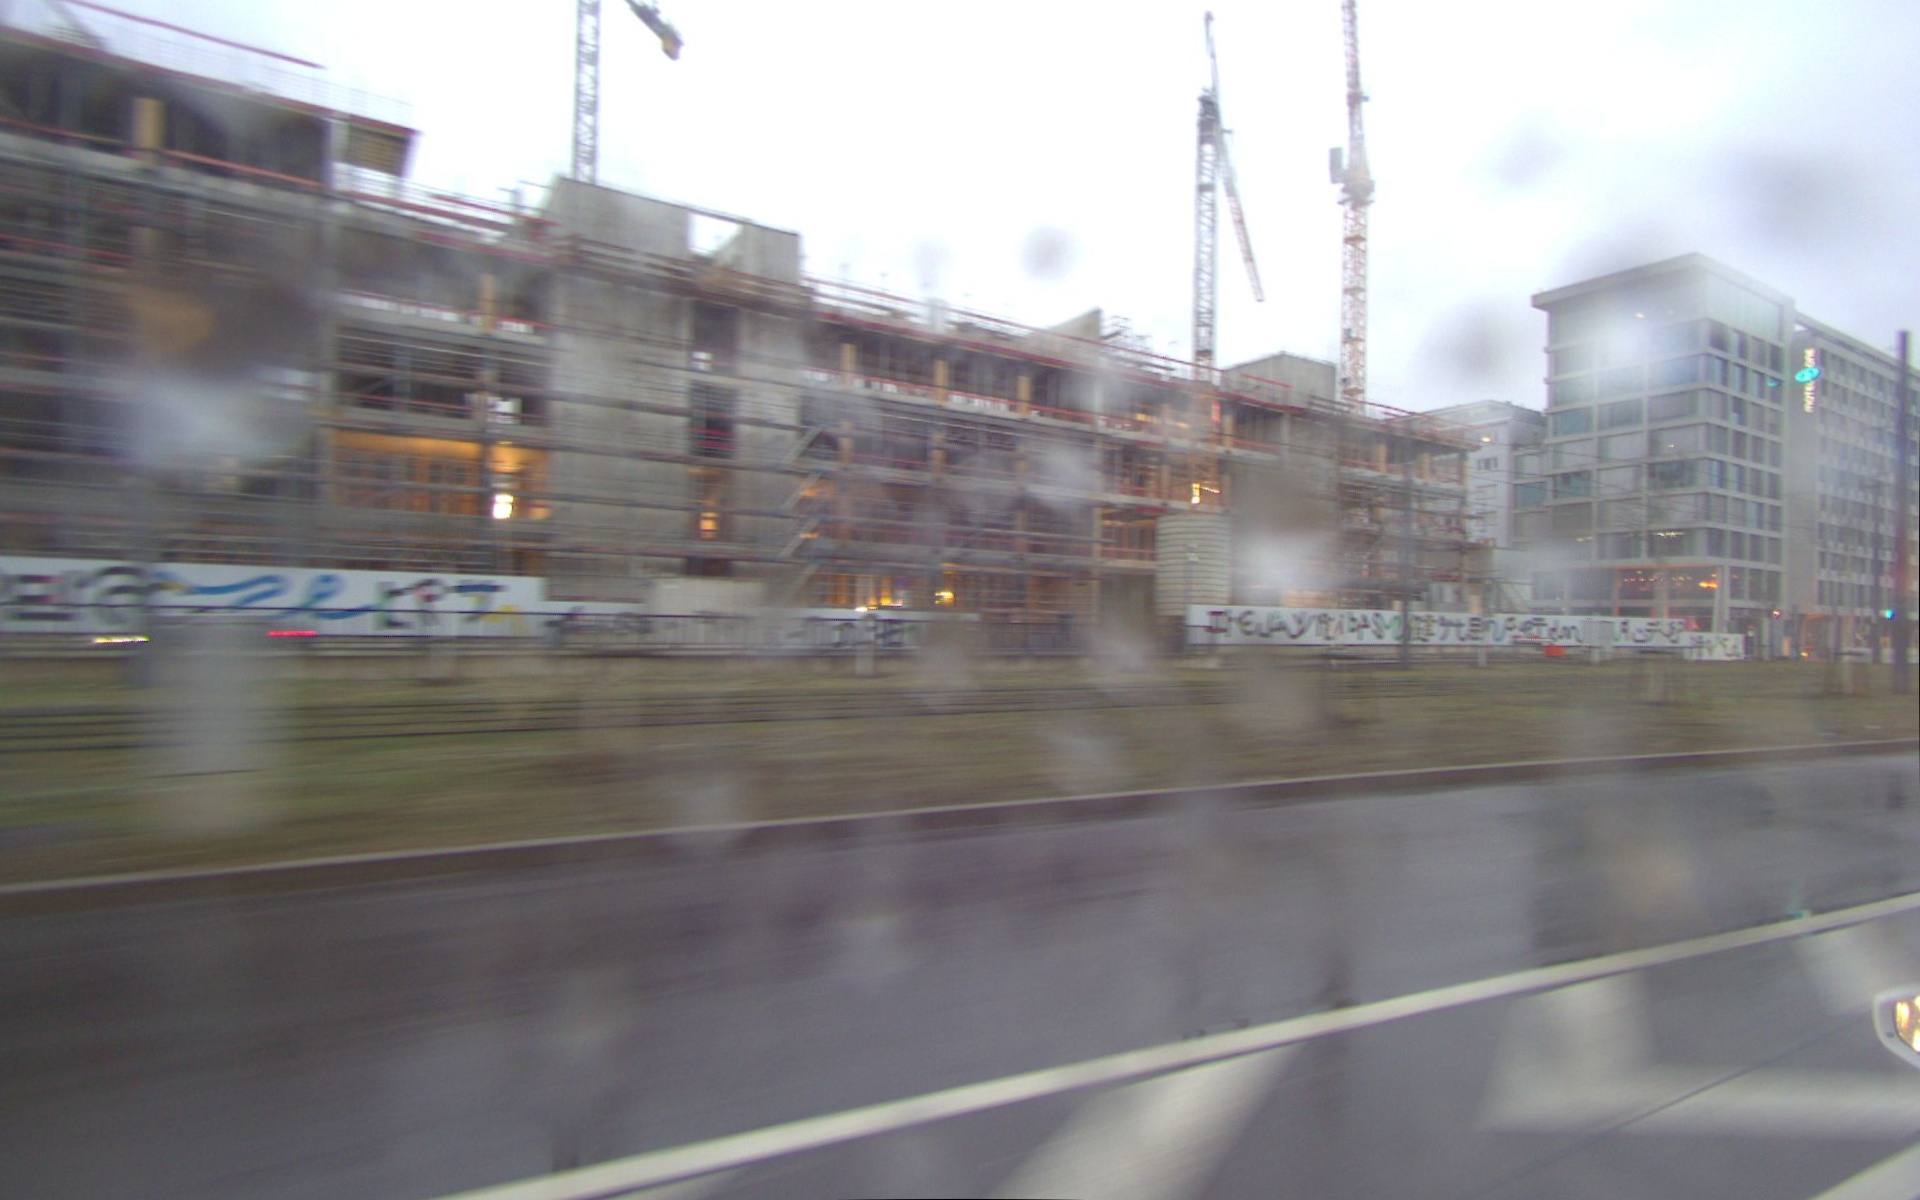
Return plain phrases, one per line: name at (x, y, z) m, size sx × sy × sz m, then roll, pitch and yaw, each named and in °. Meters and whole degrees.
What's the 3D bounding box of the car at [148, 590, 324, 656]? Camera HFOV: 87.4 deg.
car at (-19.673, 0.646, 27.511) m, size 3.722 × 1.684 × 1.745 m, roll 2°, pitch 0°, yaw -32°
